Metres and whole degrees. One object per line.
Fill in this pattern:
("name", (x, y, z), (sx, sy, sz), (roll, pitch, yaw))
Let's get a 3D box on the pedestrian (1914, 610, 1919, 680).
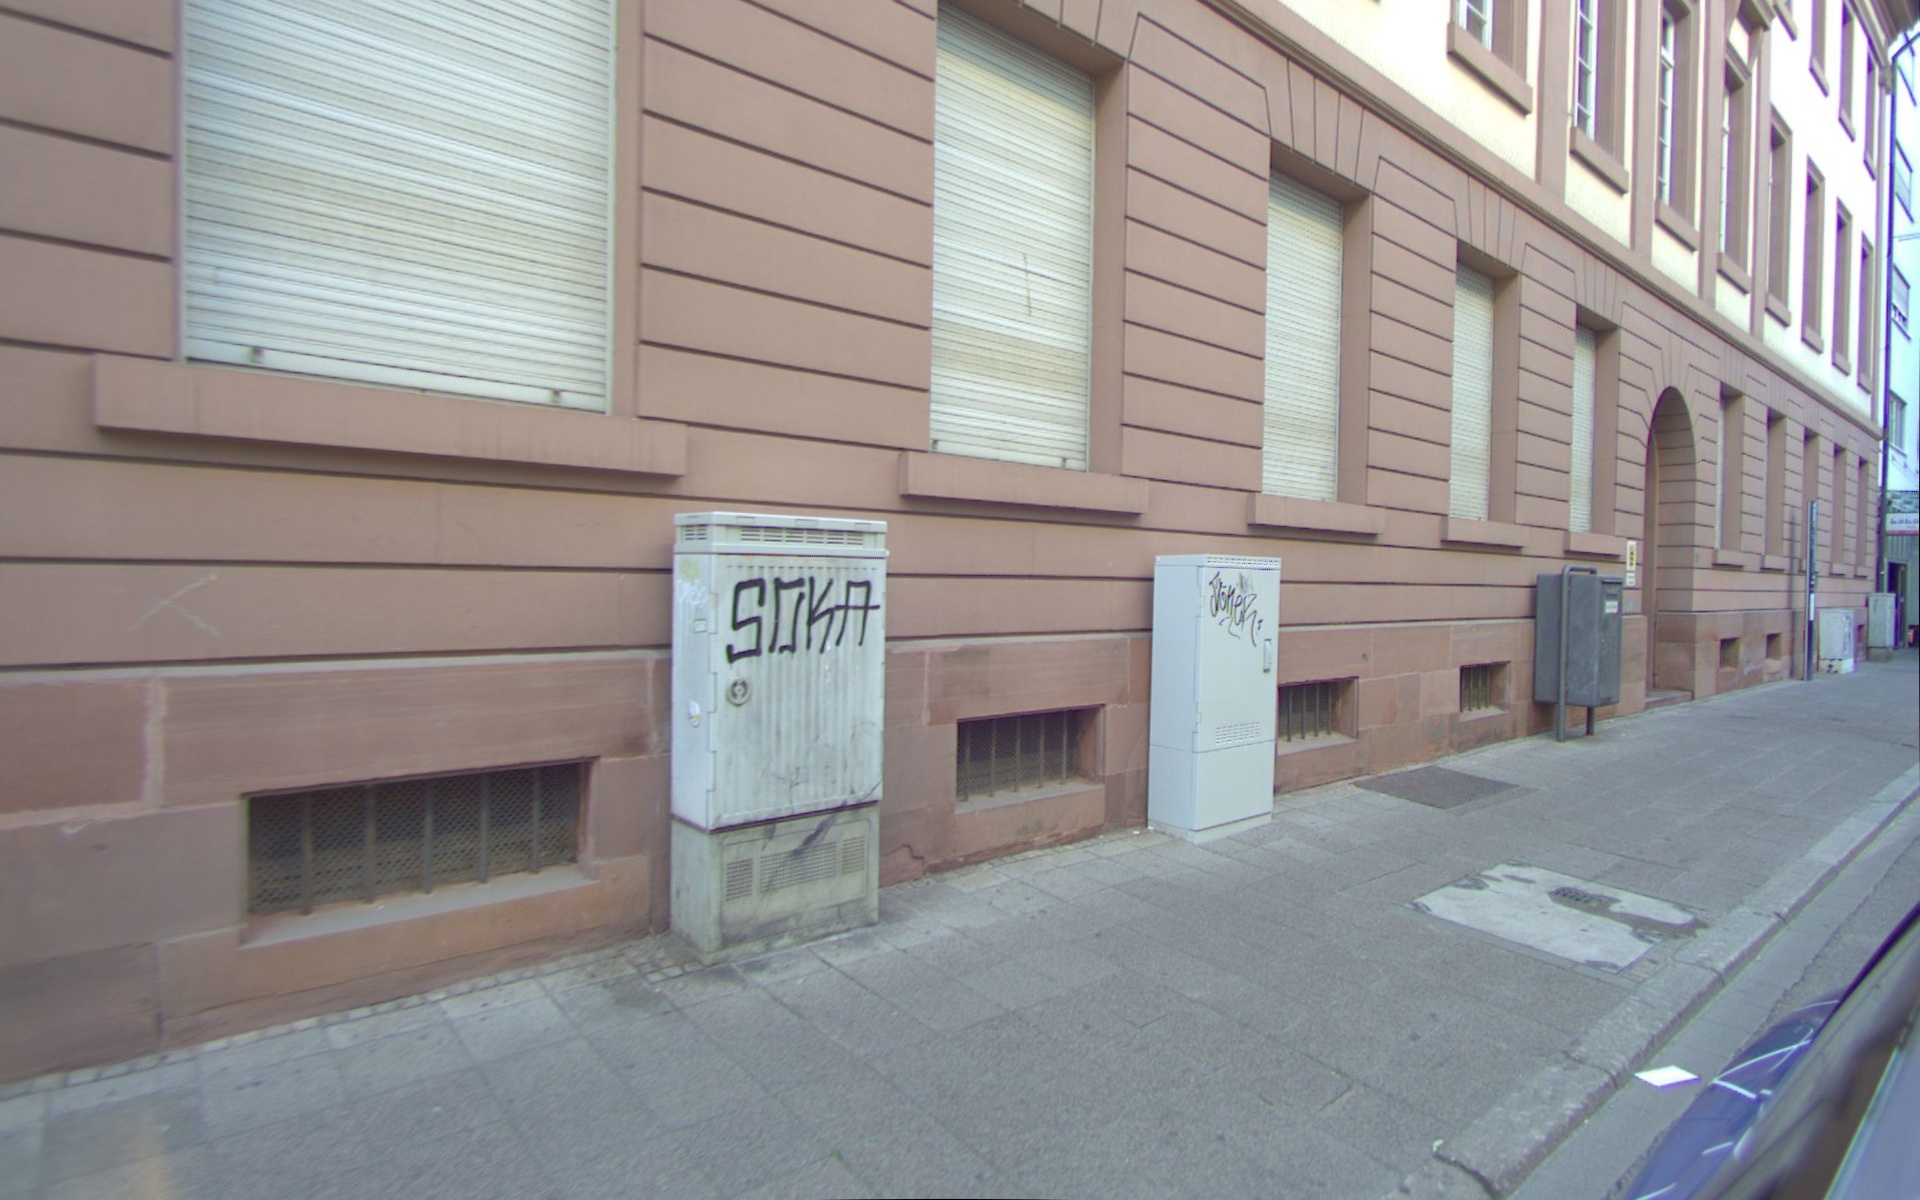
("pedestrian", (25.146, 1.180, 26.164), (0.639, 1.794, 0.592), (2, 1, 45))
